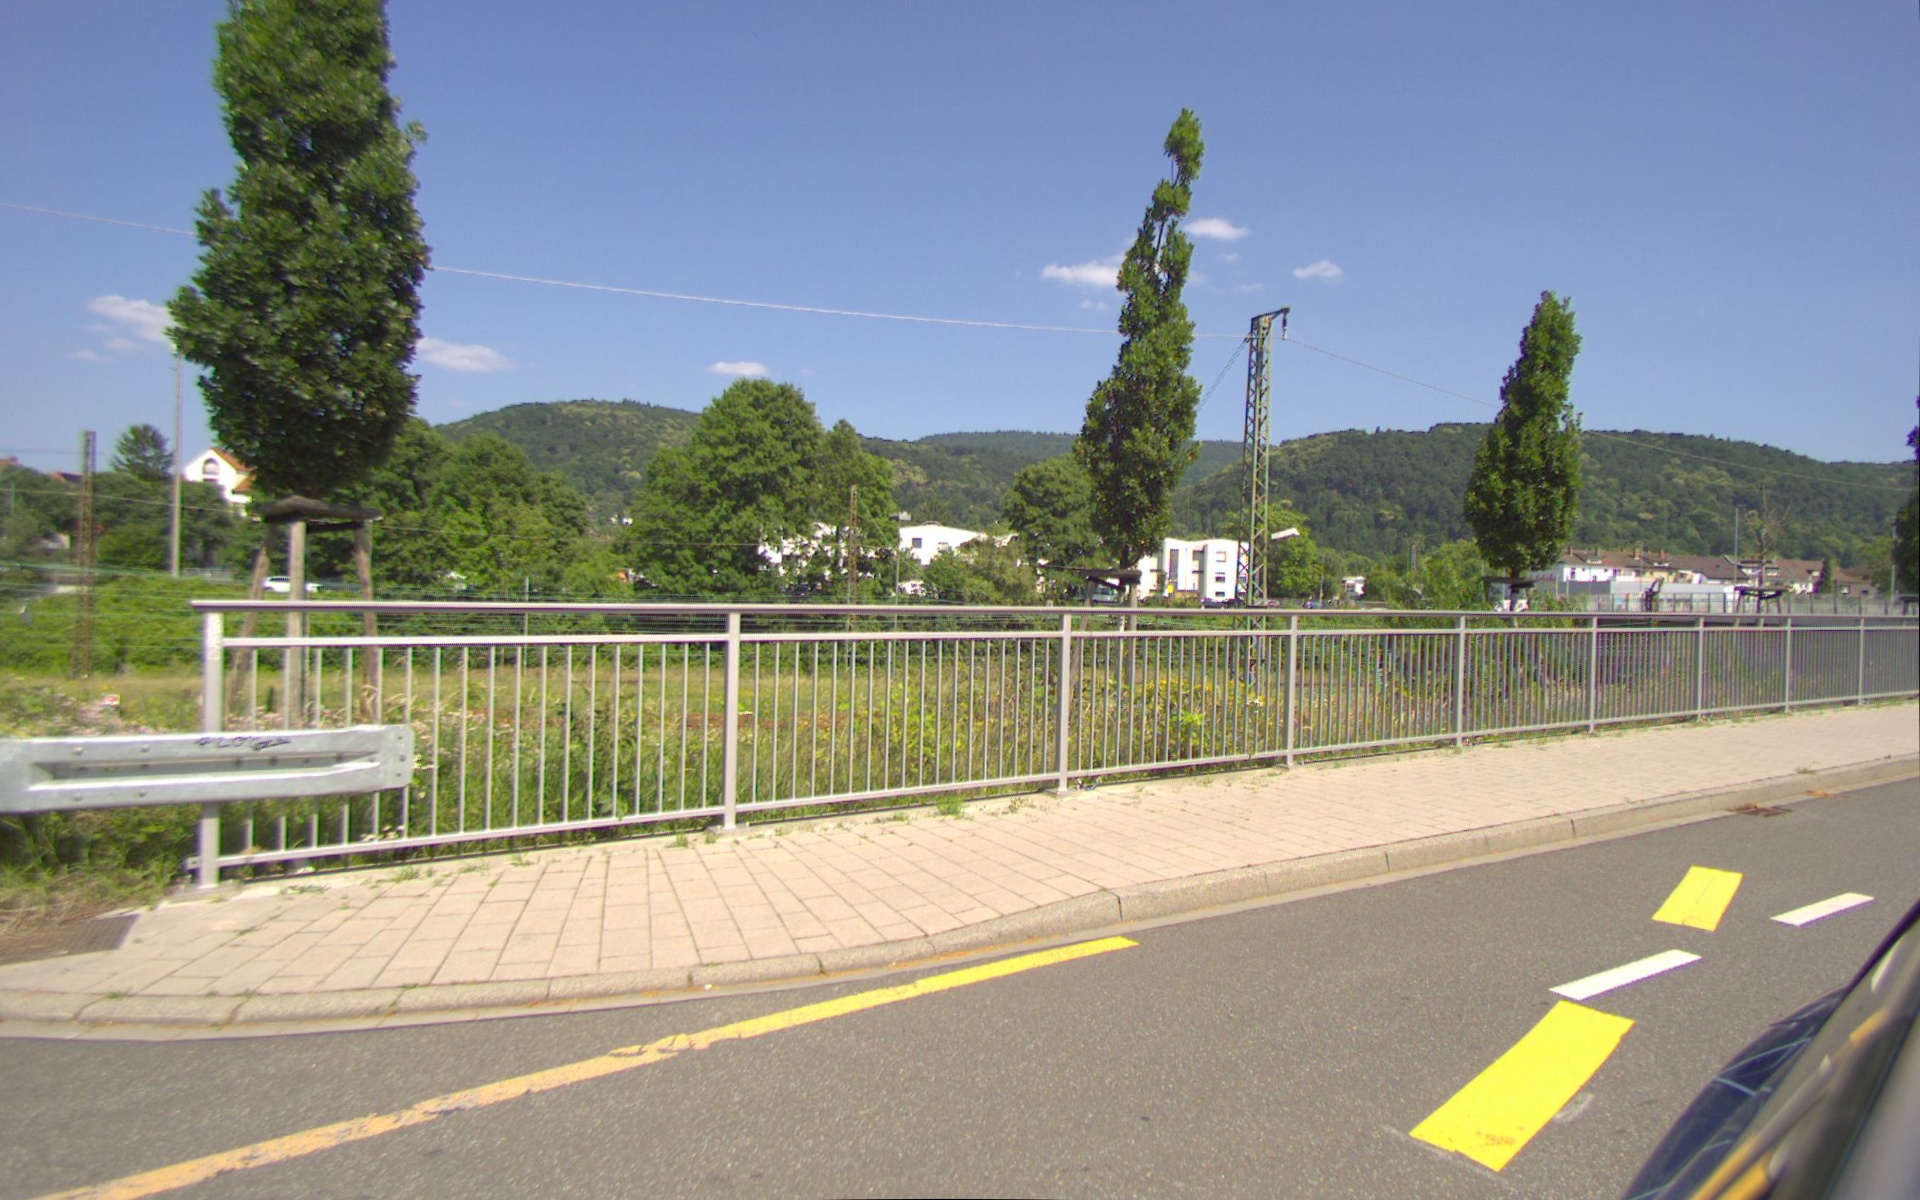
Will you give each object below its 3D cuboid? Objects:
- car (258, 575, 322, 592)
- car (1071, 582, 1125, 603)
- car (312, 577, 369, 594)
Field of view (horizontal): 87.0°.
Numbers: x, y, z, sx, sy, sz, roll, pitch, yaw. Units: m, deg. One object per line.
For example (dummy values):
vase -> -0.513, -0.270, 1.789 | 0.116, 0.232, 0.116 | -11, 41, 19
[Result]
car -> -57.300, -1.395, 86.541 | 4.233, 1.384, 1.866 | 1, 0, -1
car -> 15.159, -0.822, 111.062 | 5.403, 2.130, 2.138 | -1, -4, -19
car -> -52.933, -1.209, 86.450 | 3.768, 1.384, 1.784 | 1, 0, -2
